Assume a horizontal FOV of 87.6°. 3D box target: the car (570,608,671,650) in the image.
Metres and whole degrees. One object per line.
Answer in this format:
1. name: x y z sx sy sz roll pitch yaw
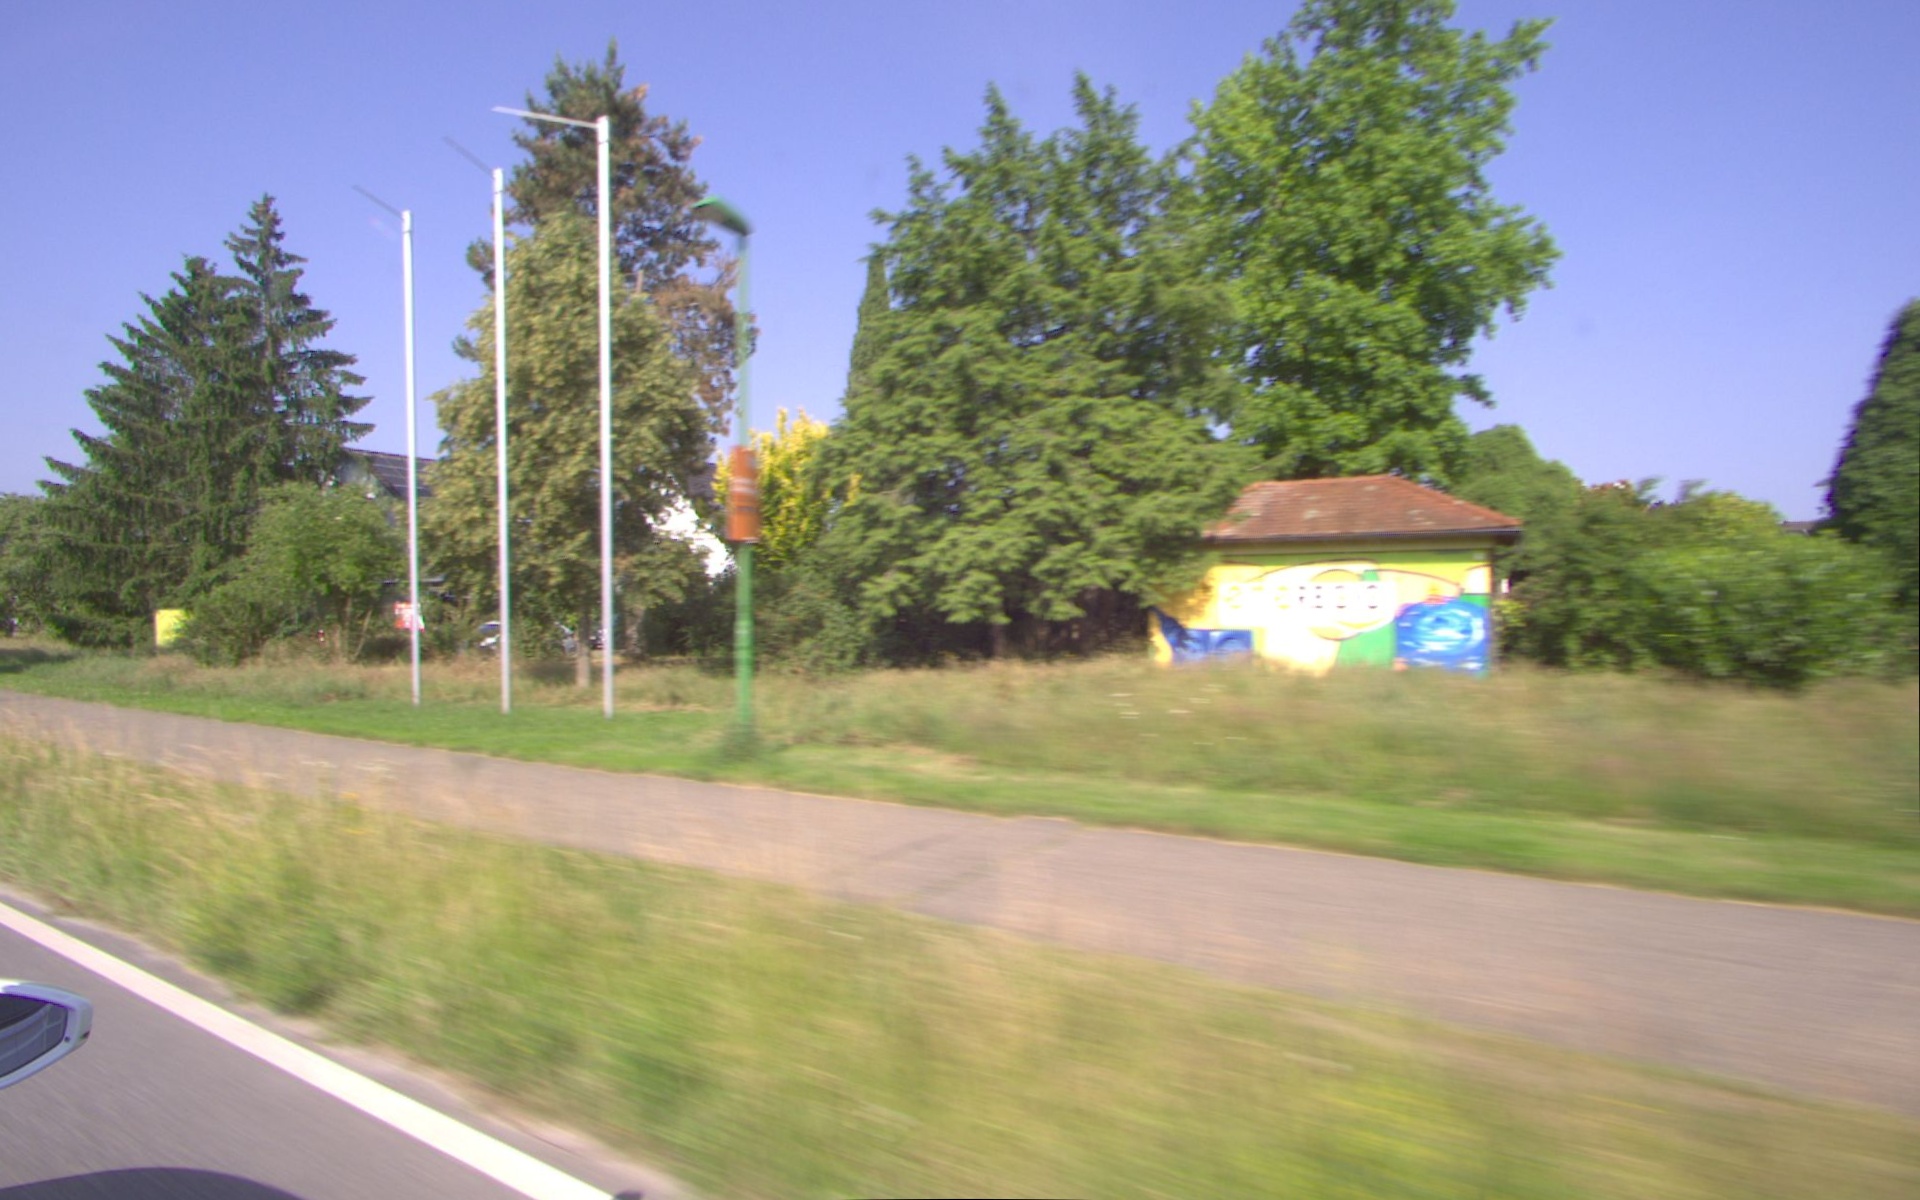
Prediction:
1. car: -14.499 1.206 42.942 1.812 1.684 3.923 0 0 29

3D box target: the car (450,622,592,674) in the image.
1. car: -13.868 1.478 31.900 1.785 1.453 3.987 0 0 24
